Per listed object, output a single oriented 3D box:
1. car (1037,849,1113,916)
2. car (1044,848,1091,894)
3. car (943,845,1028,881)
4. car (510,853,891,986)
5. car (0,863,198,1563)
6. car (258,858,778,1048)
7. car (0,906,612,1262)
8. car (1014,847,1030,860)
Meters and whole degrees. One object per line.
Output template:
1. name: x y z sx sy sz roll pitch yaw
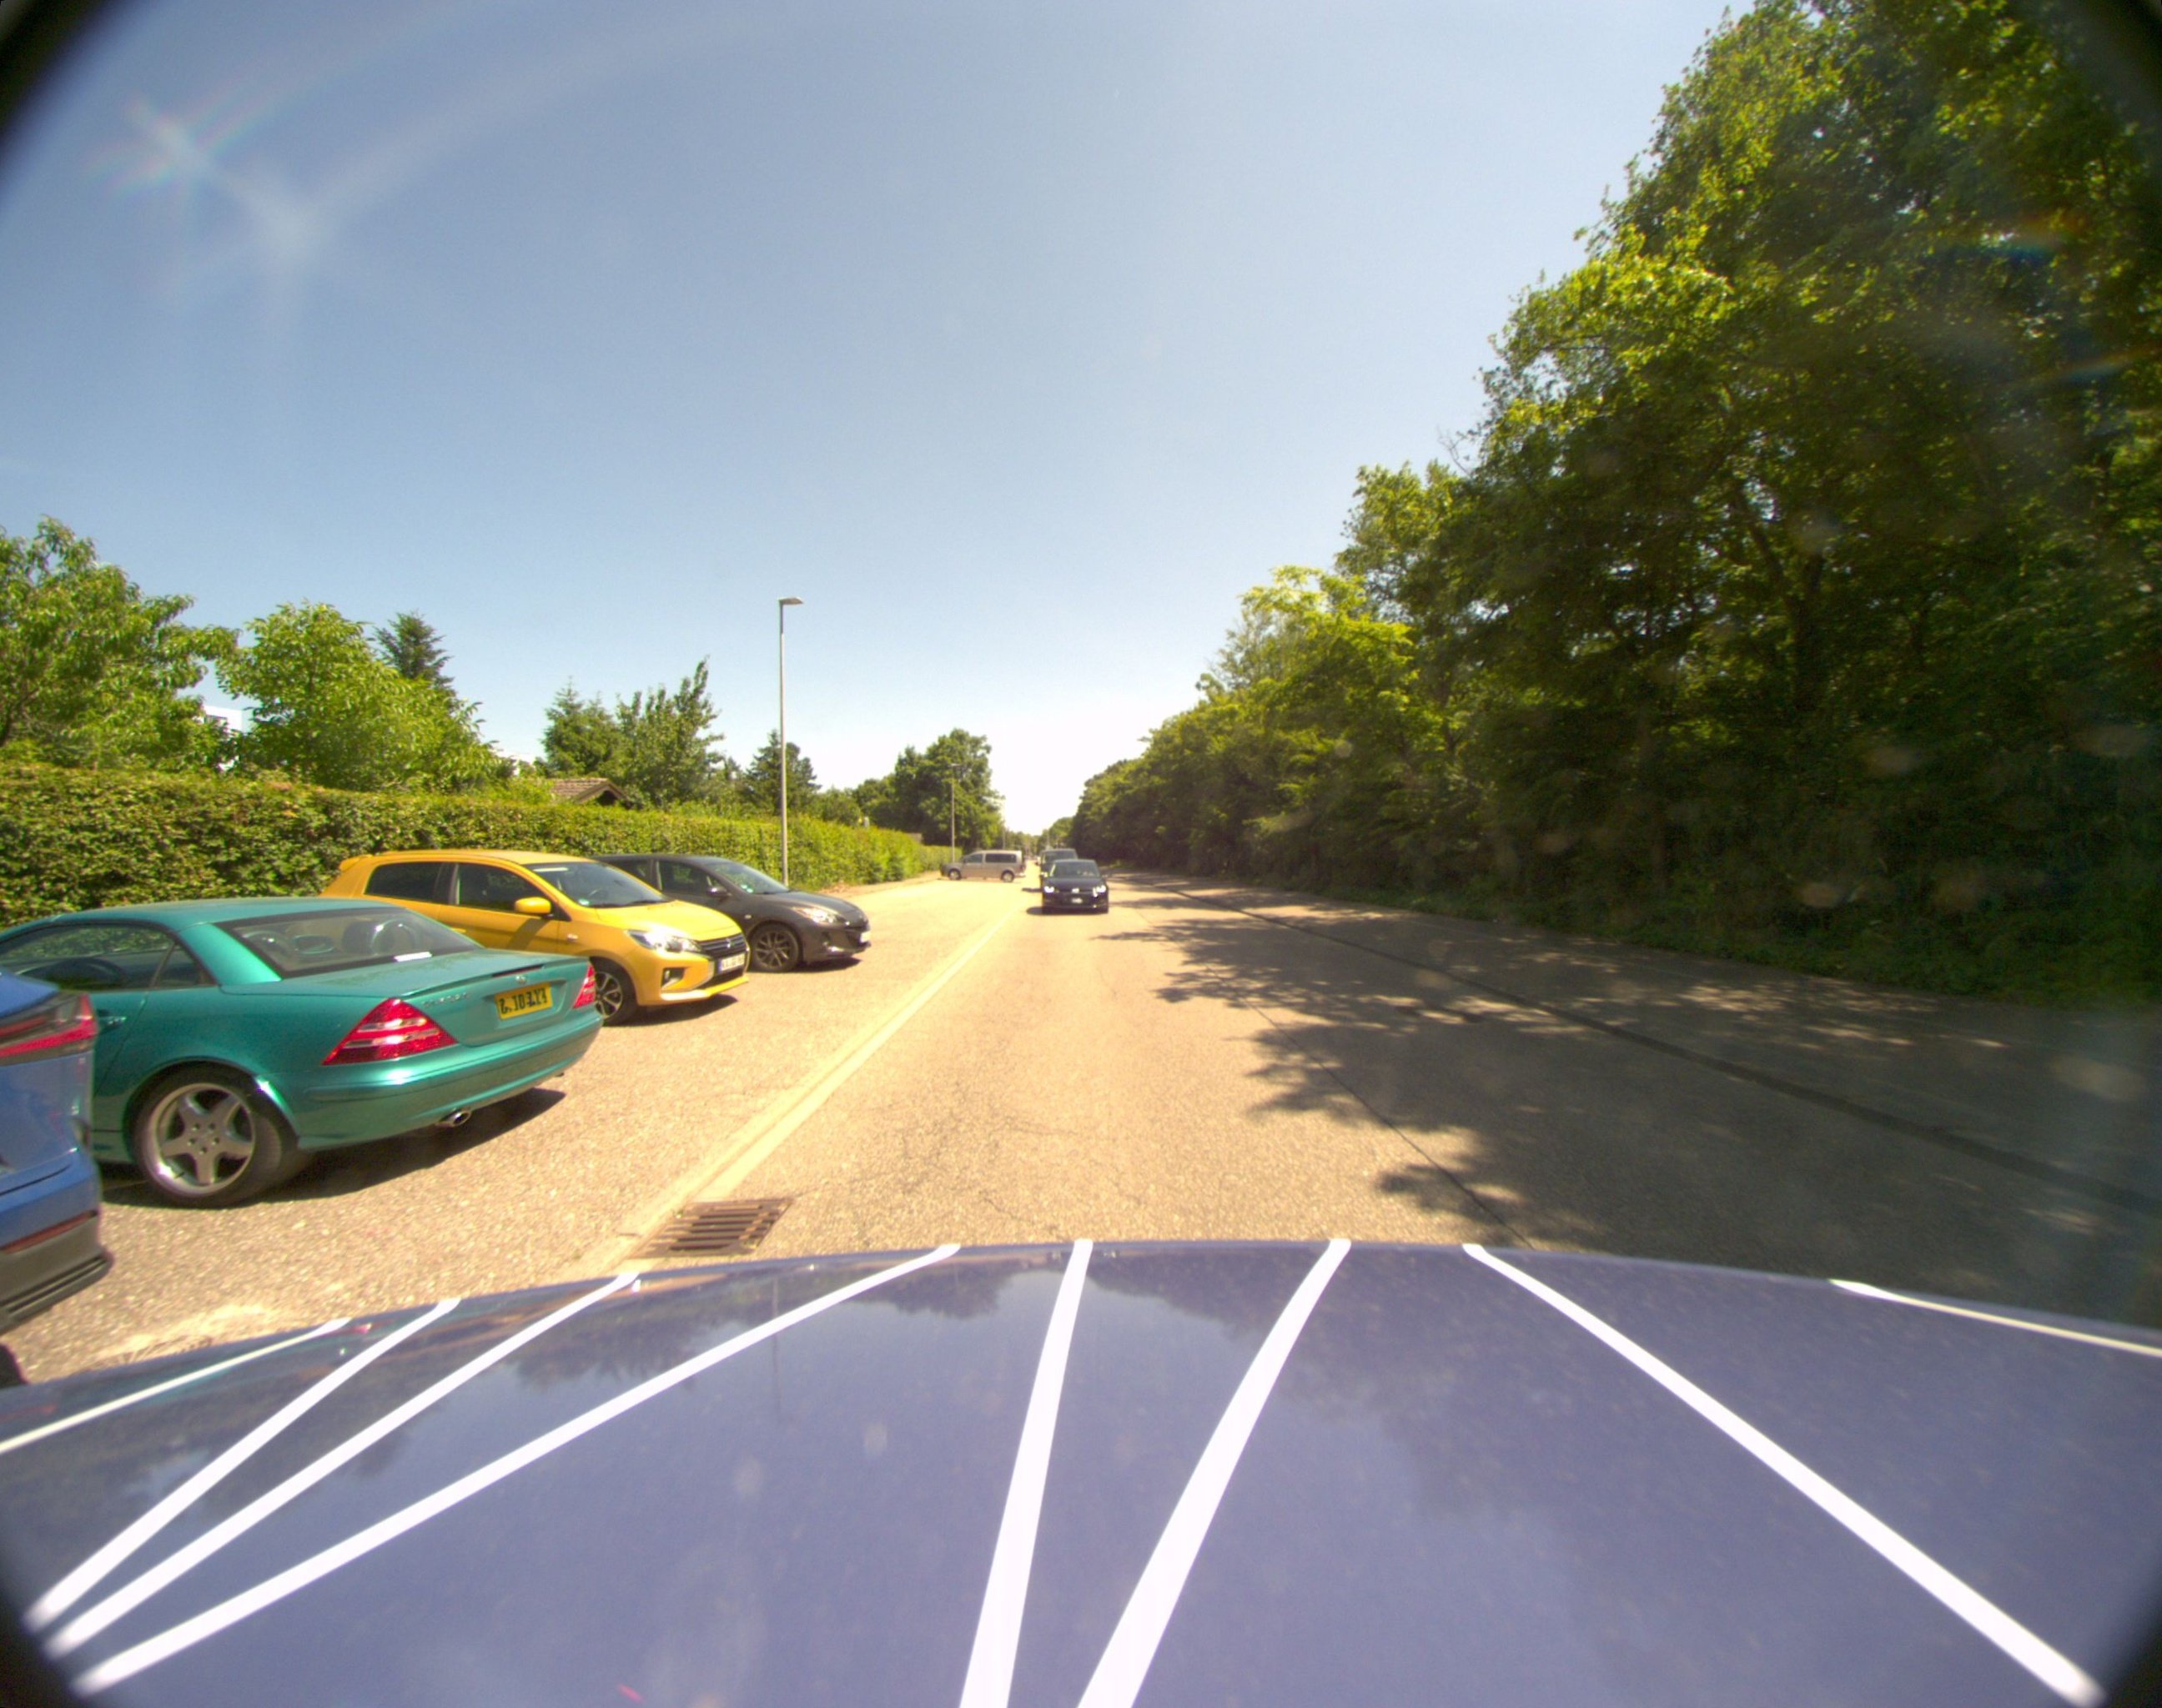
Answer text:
1. car: -0.195 0.710 21.506 1.887 1.668 4.661 -1 0 -1
2. car: -0.718 0.735 35.912 2.002 1.965 4.448 -1 1 -4
3. car: -5.447 0.517 43.906 4.633 1.837 1.995 3 0 -2
4. car: -4.895 0.804 10.267 4.175 1.487 1.882 2 1 -1
5. car: -4.638 0.814 1.218 4.249 1.624 1.822 1 1 -1
6. car: -5.224 0.842 7.397 3.809 1.447 1.775 2 1 4
7. car: -4.812 1.002 3.909 3.745 1.261 1.627 2 0 -1
8. car: -7.039 -0.056 90.077 1.795 1.473 4.662 3 0 -6
